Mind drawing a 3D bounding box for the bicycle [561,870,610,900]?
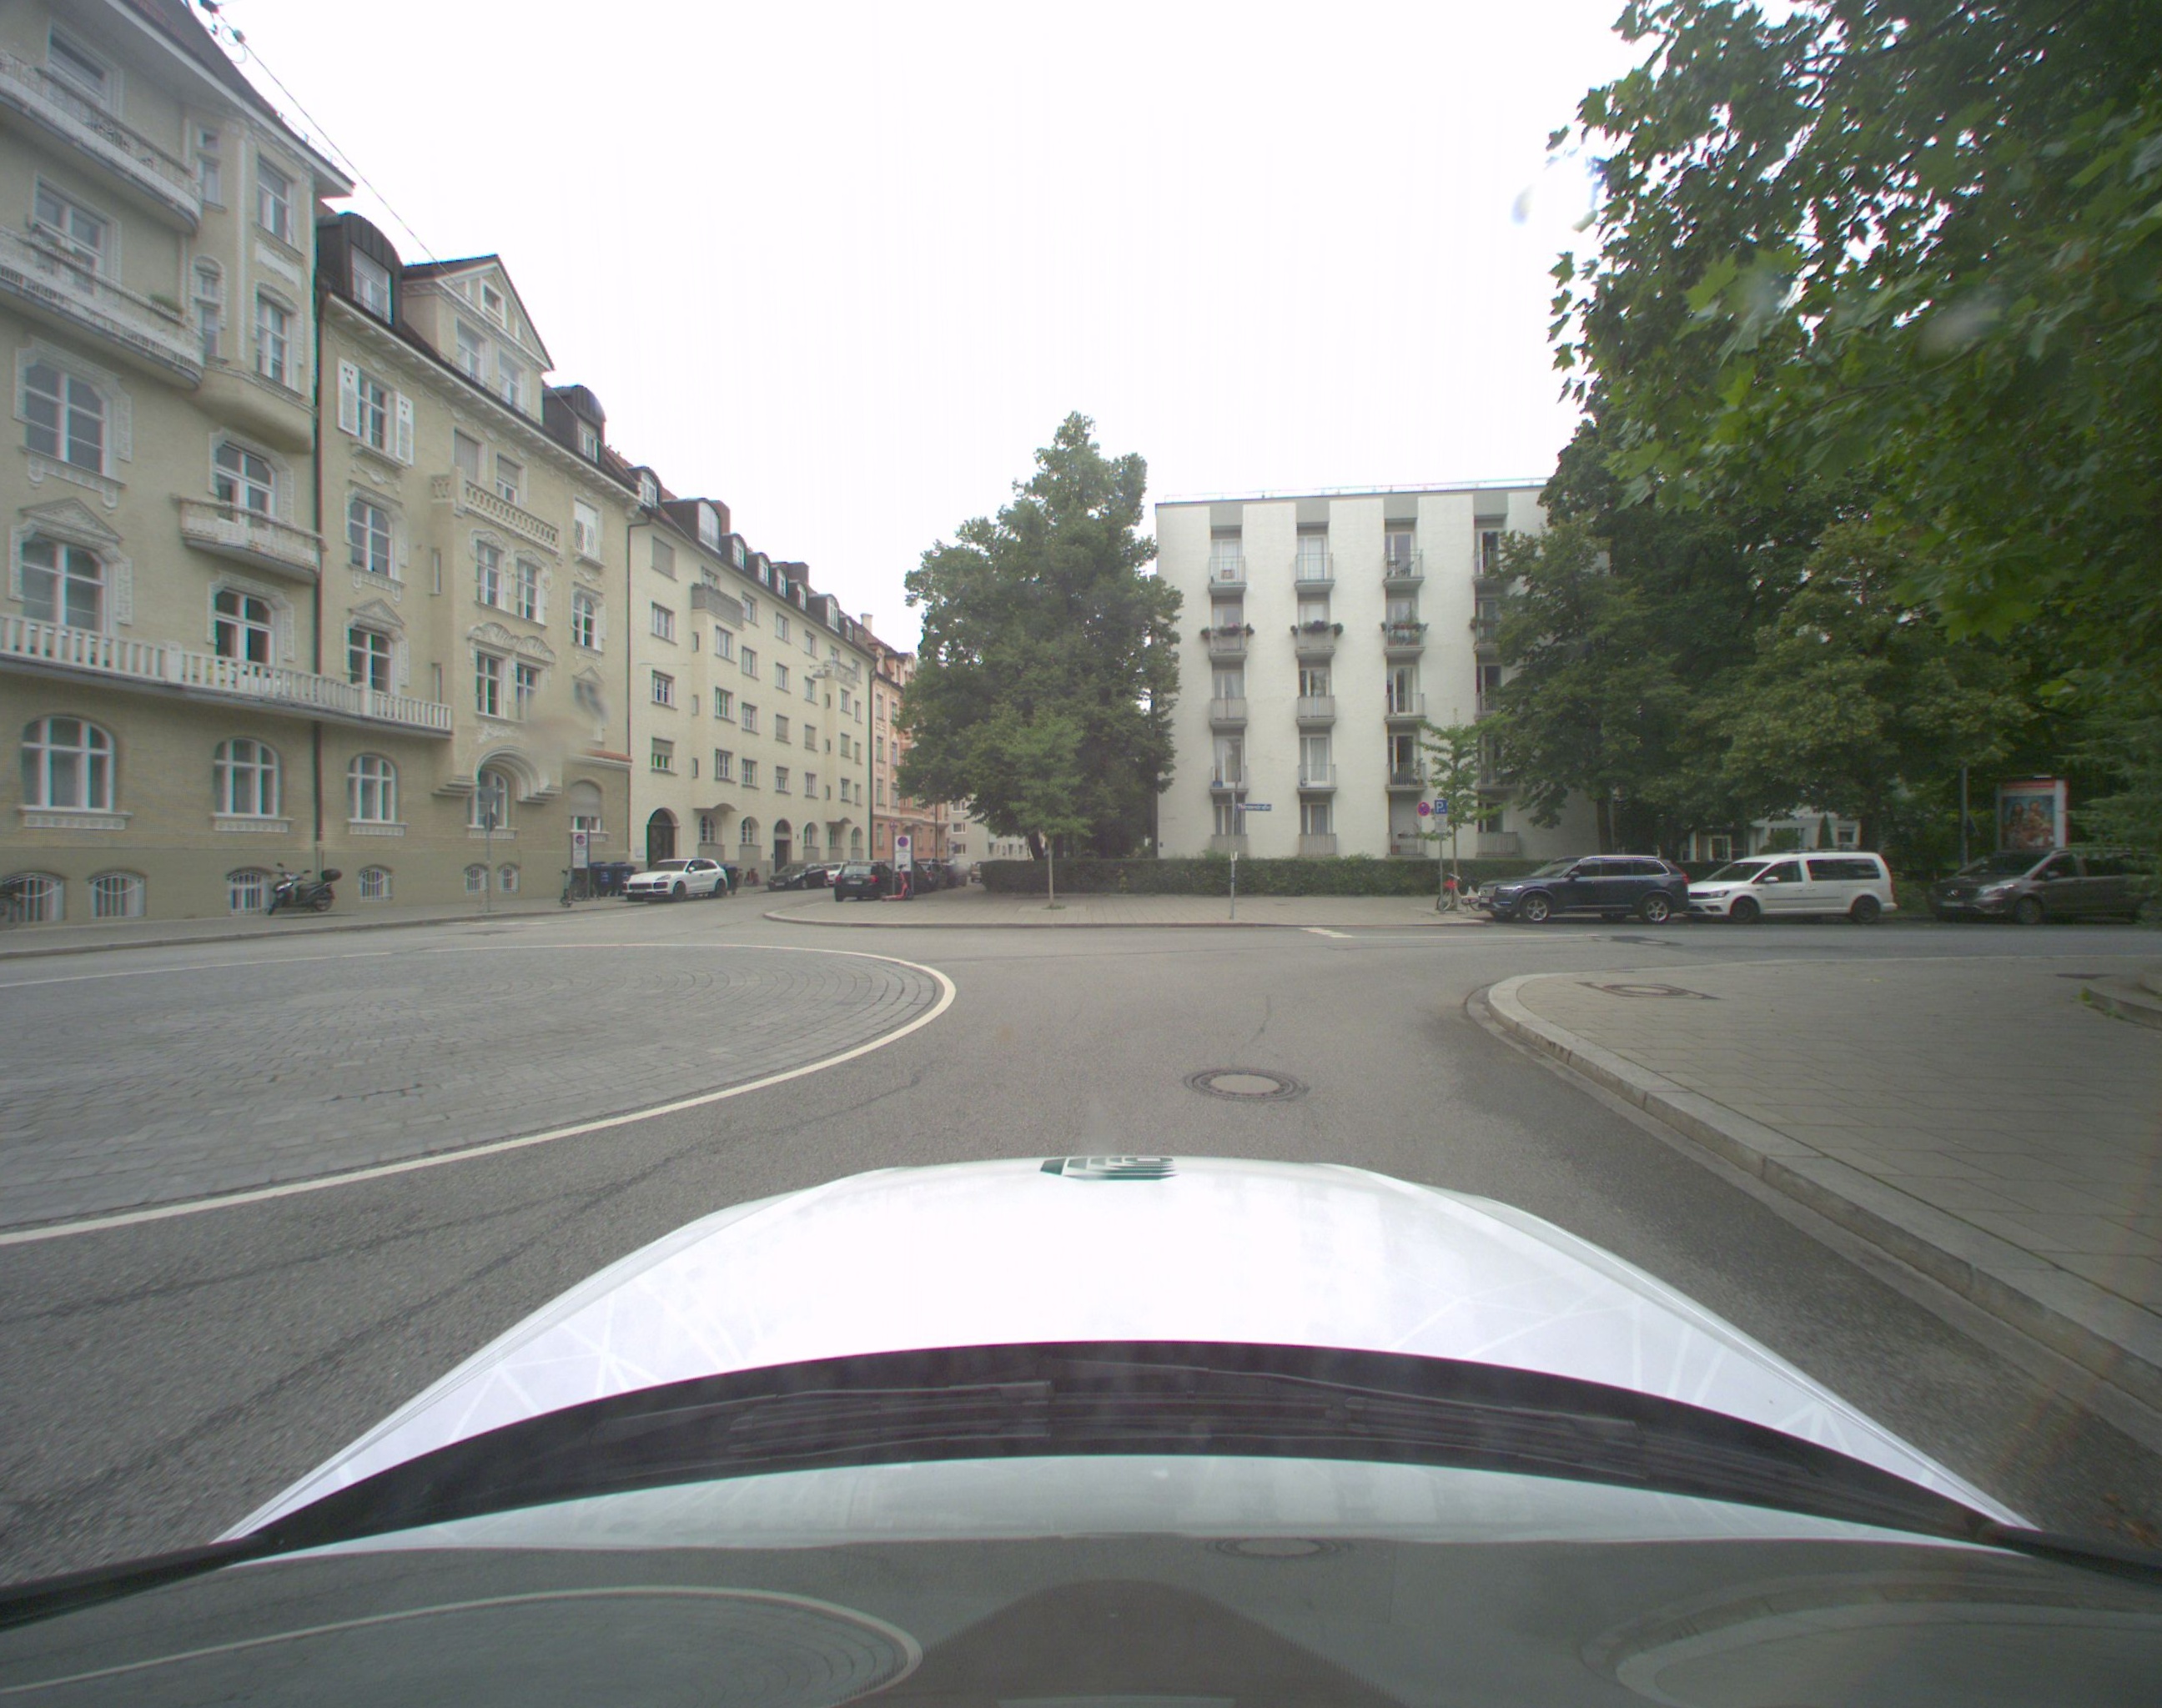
[{"bbox_3d":[-18.336,1.124,30.174,0.560,1.049,1.833,0,0,6],"label":"bicycle"}]

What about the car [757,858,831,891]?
[{"bbox_3d":[-15.017,1.014,42.856,1.967,1.616,4.716,0,0,3],"label":"car"}]

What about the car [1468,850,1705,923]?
[{"bbox_3d":[12.938,0.813,21.080,4.879,1.792,2.000,0,-1,1],"label":"car"}]

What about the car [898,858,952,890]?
[{"bbox_3d":[-7.822,0.984,41.169,1.787,1.505,4.116,-1,0,1],"label":"car"}]

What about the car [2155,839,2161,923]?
[{"bbox_3d":[32.018,0.719,21.354,5.210,2.273,1.952,0,-2,-1],"label":"car"}]

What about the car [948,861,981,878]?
[{"bbox_3d":[-11.068,1.453,77.846,1.964,1.581,4.418,0,0,8],"label":"car"}]

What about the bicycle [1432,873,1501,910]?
[{"bbox_3d":[11.213,1.075,23.686,1.821,1.049,0.491,0,0,-5],"label":"bicycle"}]

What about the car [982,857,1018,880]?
[{"bbox_3d":[-6.221,1.082,62.651,1.825,1.634,4.123,-1,0,7],"label":"car"}]

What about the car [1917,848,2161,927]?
[{"bbox_3d":[25.076,0.841,21.040,5.179,1.933,1.891,0,-1,-3],"label":"car"}]

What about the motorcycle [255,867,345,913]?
[{"bbox_3d":[-21.434,0.963,22.407,0.595,1.176,1.833,0,0,6],"label":"motorcycle"}]

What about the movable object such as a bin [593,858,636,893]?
[{"bbox_3d":[-19.651,0.894,34.332,1.085,1.425,1.176,0,-1,8],"label":"movable object such as a bin"}]

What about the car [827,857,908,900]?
[{"bbox_3d":[-8.082,0.877,31.311,1.812,1.505,4.423,-1,0,1],"label":"car"}]

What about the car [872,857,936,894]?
[{"bbox_3d":[-7.875,0.931,36.574,1.787,1.505,4.236,-1,0,1],"label":"car"}]

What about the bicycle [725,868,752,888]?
[{"bbox_3d":[-18.992,1.332,45.241,0.560,1.049,1.833,0,0,6],"label":"bicycle"}]

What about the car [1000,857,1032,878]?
[{"bbox_3d":[-5.398,1.099,68.273,1.824,1.634,3.829,-1,0,9],"label":"car"}]

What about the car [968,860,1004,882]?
[{"bbox_3d":[-6.737,1.187,58.057,1.827,1.505,4.119,-1,0,3],"label":"car"}]

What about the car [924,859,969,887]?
[{"bbox_3d":[-7.693,1.052,46.965,1.787,1.505,4.116,-1,0,1],"label":"car"}]

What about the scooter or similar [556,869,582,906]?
[{"bbox_3d":[-17.083,1.118,27.181,0.470,1.193,1.200,1,-1,-45],"label":"scooter or similar"}]

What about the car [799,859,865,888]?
[{"bbox_3d":[-14.509,1.091,47.723,1.964,1.581,4.417,0,0,8],"label":"car"}]

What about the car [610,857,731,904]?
[{"bbox_3d":[-16.134,0.971,32.331,1.966,1.701,4.848,0,0,6],"label":"car"}]

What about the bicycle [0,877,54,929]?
[{"bbox_3d":[-22.256,1.009,16.461,0.560,1.049,1.833,0,0,6],"label":"bicycle"}]

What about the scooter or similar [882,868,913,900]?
[{"bbox_3d":[-6.379,1.048,28.375,1.002,1.088,0.388,1,-1,-22],"label":"scooter or similar"}]

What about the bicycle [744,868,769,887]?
[{"bbox_3d":[-18.789,1.343,47.254,0.560,1.049,1.833,0,0,6],"label":"bicycle"}]

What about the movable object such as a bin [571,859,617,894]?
[{"bbox_3d":[-19.824,0.906,33.144,1.085,1.425,1.176,0,-1,8],"label":"movable object such as a bin"}]

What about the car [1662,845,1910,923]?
[{"bbox_3d":[18.128,0.752,21.106,4.816,1.918,1.835,0,-1,0],"label":"car"}]

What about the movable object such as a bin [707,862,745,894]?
[{"bbox_3d":[-16.066,1.091,36.892,1.085,1.425,1.176,0,-1,8],"label":"movable object such as a bin"}]
